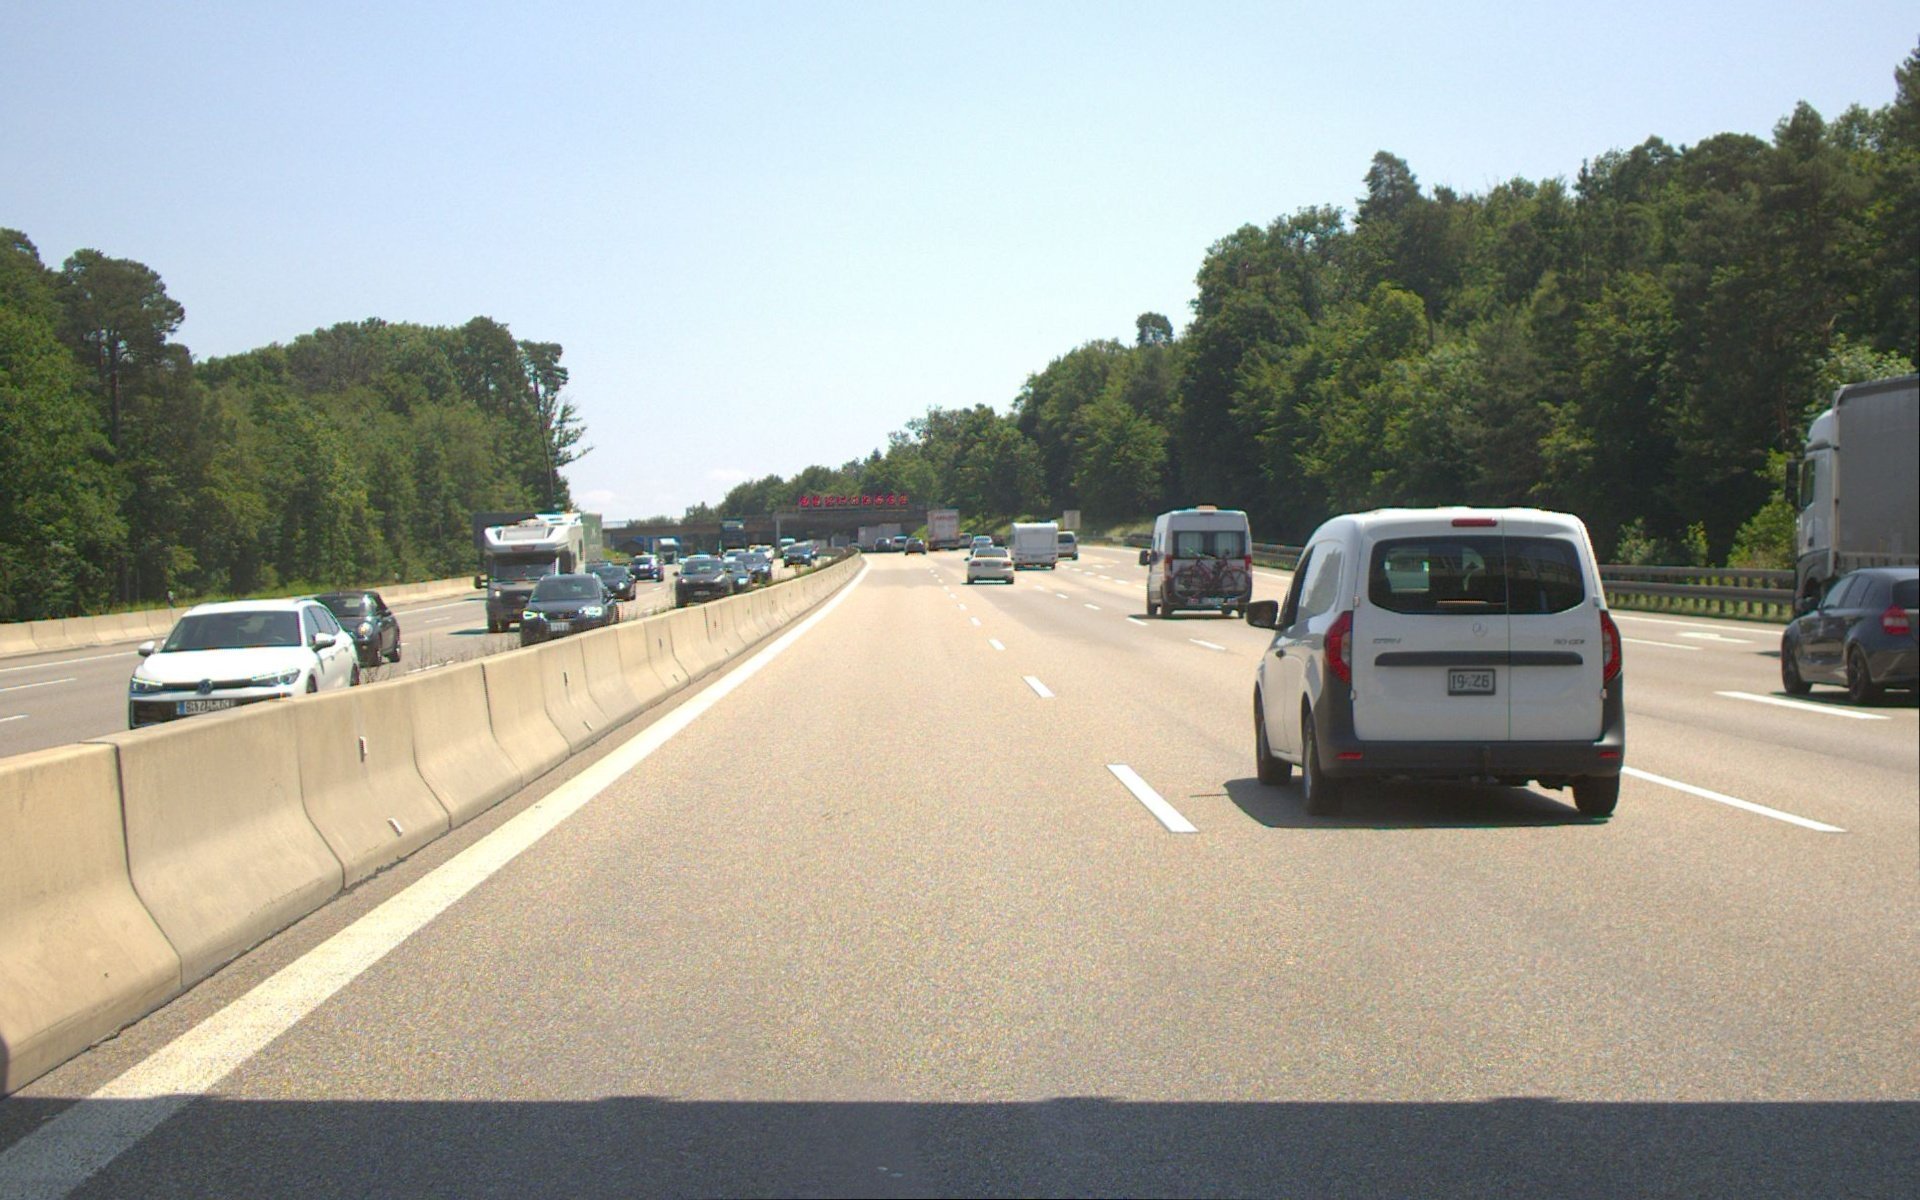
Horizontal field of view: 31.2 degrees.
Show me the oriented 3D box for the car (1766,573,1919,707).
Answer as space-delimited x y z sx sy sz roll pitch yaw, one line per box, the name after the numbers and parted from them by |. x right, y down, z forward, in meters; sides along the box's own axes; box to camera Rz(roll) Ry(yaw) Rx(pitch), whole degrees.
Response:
9.808 0.380 36.025 1.670 1.269 4.290 0 1 -1 | car

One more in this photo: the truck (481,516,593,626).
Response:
-11.518 -0.824 94.134 2.138 2.828 7.670 -2 1 -1 | truck

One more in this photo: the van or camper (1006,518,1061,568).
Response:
3.896 -3.016 182.738 2.645 2.530 6.502 -2 0 -1 | van or camper

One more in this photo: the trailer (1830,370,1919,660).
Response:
14.690 -1.097 43.939 3.287 3.917 13.891 0 1 -1 | trailer

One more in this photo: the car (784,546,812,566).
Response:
-11.430 -3.119 243.120 1.835 1.333 3.643 -1 1 -1 | car

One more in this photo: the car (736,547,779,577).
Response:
-9.429 -1.764 160.383 1.835 1.333 3.643 -2 1 -1 | car

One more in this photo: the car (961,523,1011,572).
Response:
1.140 -2.317 152.337 2.033 2.007 4.000 -2 0 -1 | car

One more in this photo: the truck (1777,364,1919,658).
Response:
14.509 -1.284 50.984 3.254 4.092 5.988 0 1 -1 | truck

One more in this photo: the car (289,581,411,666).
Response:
-11.644 0.422 65.820 1.534 1.476 4.125 2 1 0 | car

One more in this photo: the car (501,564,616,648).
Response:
-8.048 0.093 69.240 1.723 1.532 5.056 -2 1 -1 | car

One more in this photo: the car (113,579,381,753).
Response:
-7.572 0.645 37.008 1.846 1.545 5.215 -4 1 -2 | car

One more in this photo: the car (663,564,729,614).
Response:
-9.021 -0.392 117.761 1.993 1.612 4.000 -1 1 -1 | car

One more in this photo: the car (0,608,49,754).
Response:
-10.491 0.852 34.474 1.548 1.437 4.725 -1 1 -2 | car

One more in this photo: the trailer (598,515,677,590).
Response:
-18.505 -2.681 197.816 3.537 4.055 10.371 -2 0 -1 | trailer

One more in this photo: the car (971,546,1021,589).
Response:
1.447 -1.298 139.336 1.843 1.623 4.553 -2 0 -1 | car

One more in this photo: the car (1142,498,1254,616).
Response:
5.524 -1.012 80.520 2.143 2.643 5.710 -1 1 -1 | car

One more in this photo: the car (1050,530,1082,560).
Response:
6.678 -3.465 217.216 1.820 1.853 4.000 -1 1 -1 | car

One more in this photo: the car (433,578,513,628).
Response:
-14.017 0.068 99.102 1.835 1.333 3.643 -2 1 -1 | car

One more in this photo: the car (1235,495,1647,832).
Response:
2.863 0.352 21.453 1.860 1.819 4.612 -2 0 0 | car
